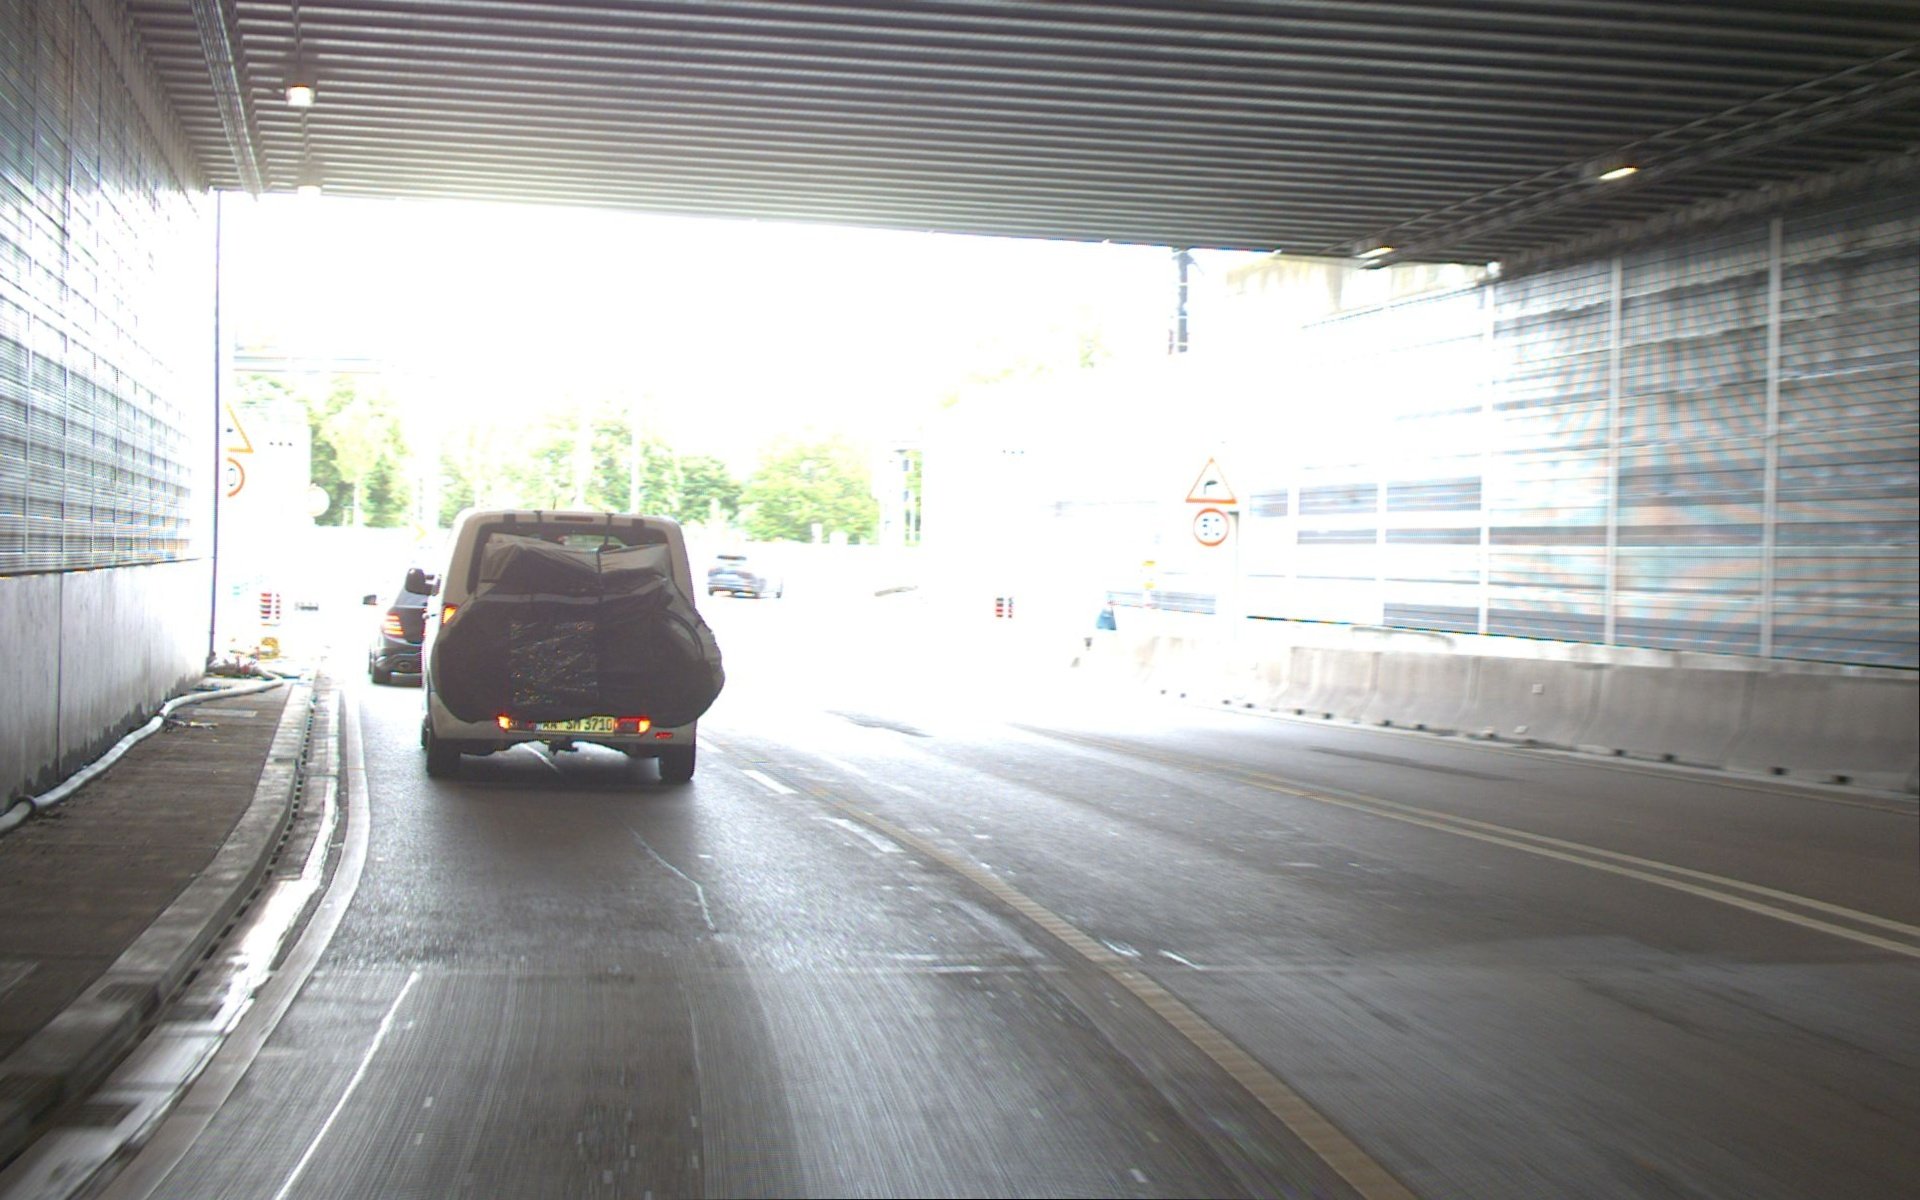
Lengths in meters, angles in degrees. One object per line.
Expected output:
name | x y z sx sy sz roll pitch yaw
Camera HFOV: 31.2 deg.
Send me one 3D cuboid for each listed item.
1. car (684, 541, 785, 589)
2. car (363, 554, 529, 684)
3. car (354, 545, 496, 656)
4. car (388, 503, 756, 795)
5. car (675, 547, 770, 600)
car | -7.048 -1.101 107.872 1.995 1.464 3.997 1 1 15
car | -6.175 0.190 40.973 1.814 1.429 4.066 1 1 -10
car | -8.077 -0.024 52.198 1.920 1.483 4.066 2 2 -7
car | -2.930 0.264 24.758 1.992 1.853 5.643 0 1 -13
car | -7.325 -0.833 106.431 2.013 1.483 4.064 3 2 9
